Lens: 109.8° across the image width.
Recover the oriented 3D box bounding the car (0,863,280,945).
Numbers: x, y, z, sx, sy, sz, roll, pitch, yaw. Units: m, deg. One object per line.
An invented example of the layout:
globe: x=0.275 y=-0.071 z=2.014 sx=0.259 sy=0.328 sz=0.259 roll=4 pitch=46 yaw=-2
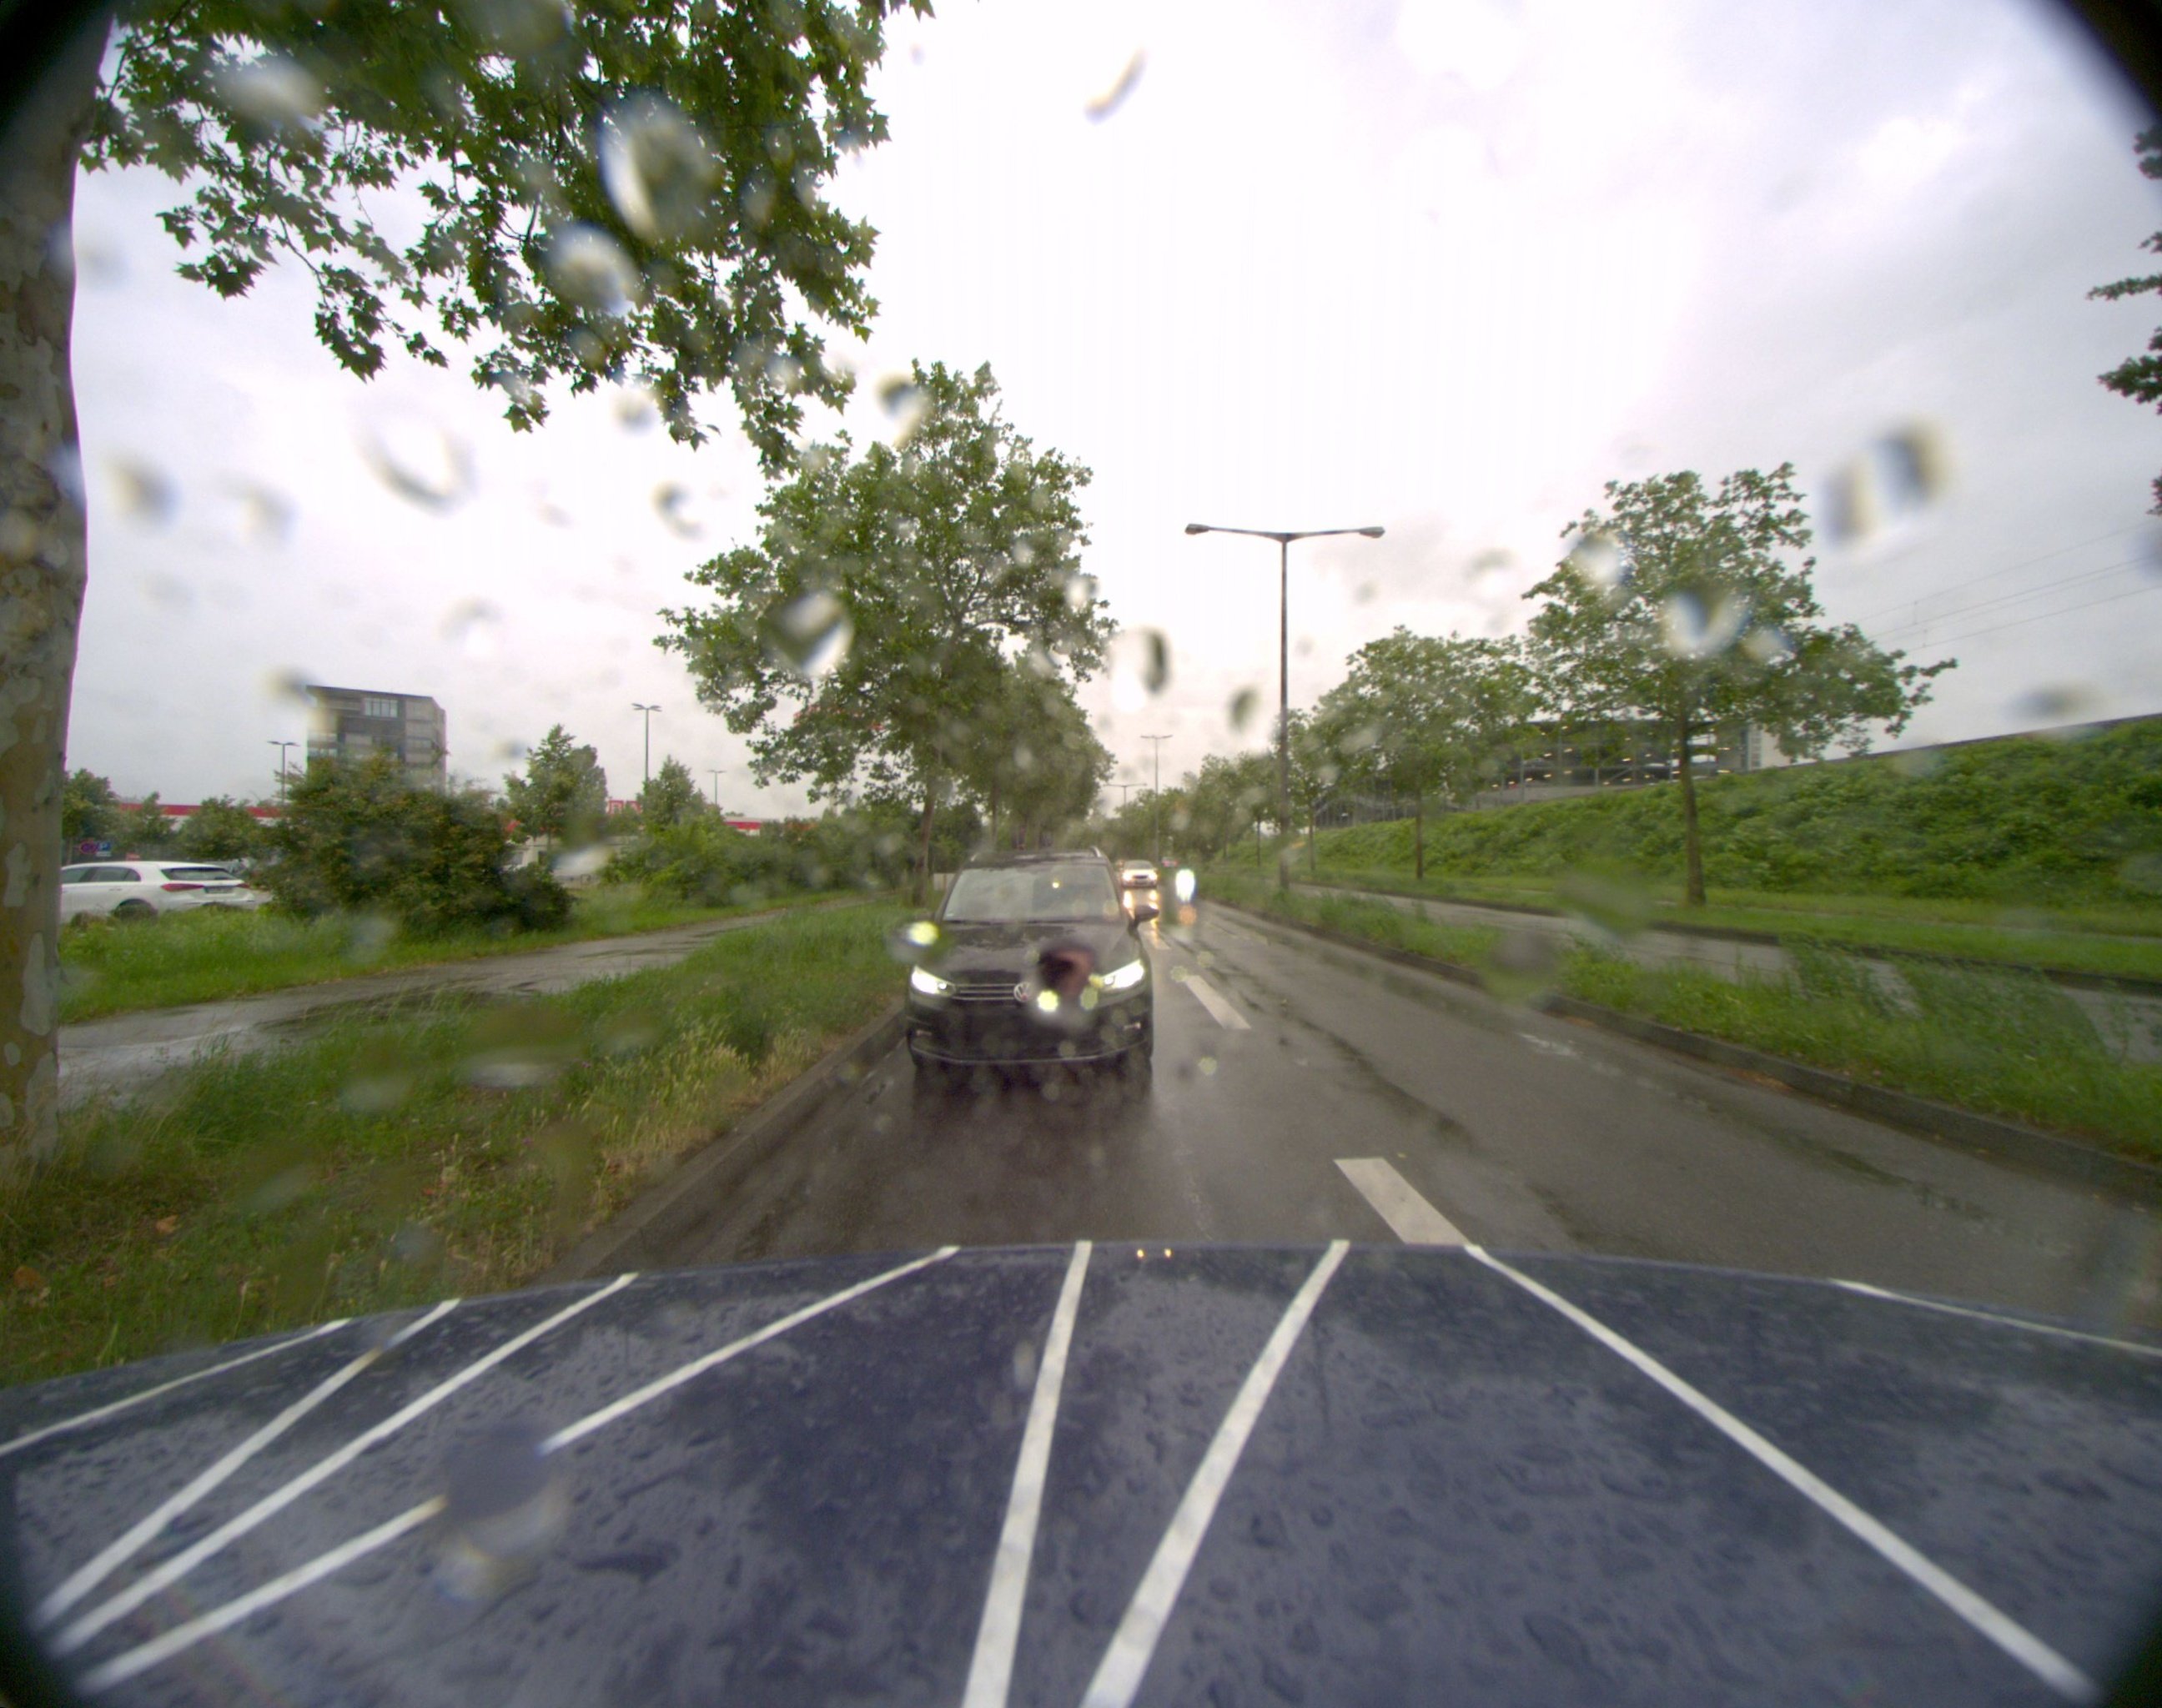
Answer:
car: x=-19.795 y=0.972 z=15.677 sx=4.272 sy=1.543 sz=1.929 roll=0 pitch=0 yaw=-4

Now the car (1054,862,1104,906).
car: x=-0.072 y=1.064 z=28.702 sx=1.724 sy=1.456 sz=4.092 roll=-2 pitch=0 yaw=0

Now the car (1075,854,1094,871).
car: x=0.349 y=0.798 z=70.656 sx=1.724 sy=1.456 sz=4.092 roll=-2 pitch=0 yaw=1

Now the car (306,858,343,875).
car: x=-78.472 y=1.235 z=78.880 sx=2.006 sy=1.667 sz=4.262 roll=0 pitch=0 yaw=-35

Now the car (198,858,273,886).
car: x=-50.059 y=1.038 z=45.083 sx=1.933 sy=1.543 sz=4.262 roll=0 pitch=0 yaw=-33

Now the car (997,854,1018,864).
car: x=-16.486 y=1.143 z=169.908 sx=2.004 sy=2.002 sz=5.118 roll=-3 pitch=1 yaw=-42

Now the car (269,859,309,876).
car: x=-80.582 y=1.333 z=77.349 sx=2.006 sy=1.667 sz=4.262 roll=0 pitch=0 yaw=-35

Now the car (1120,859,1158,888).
car: x=2.965 y=0.975 z=39.529 sx=1.683 sy=1.368 sz=4.011 roll=-2 pitch=0 yaw=1

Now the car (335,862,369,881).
car: x=-68.710 y=1.636 z=71.658 sx=2.007 sy=1.667 sz=4.261 roll=0 pitch=0 yaw=-39

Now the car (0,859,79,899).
car: x=-48.948 y=1.182 z=34.504 sx=3.787 sy=1.708 sz=1.687 roll=-3 pitch=1 yaw=-37

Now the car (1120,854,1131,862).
car: x=7.703 y=0.683 z=131.123 sx=1.724 sy=1.456 sz=4.092 roll=0 pitch=0 yaw=0

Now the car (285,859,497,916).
car: x=-19.948 y=0.931 z=22.147 sx=4.272 sy=1.543 sz=1.929 roll=0 pitch=0 yaw=-4

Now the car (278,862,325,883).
car: x=-67.286 y=1.601 z=65.619 sx=2.006 sy=1.667 sz=4.262 roll=0 pitch=0 yaw=-34

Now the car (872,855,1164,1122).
car: x=-0.439 y=0.844 z=7.086 sx=1.771 sy=1.596 sz=4.626 roll=-2 pitch=0 yaw=-1

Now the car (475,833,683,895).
car: x=-19.668 y=0.369 z=30.097 sx=6.425 sy=2.349 sz=2.390 roll=0 pitch=0 yaw=-8

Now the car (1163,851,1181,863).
car: x=11.208 y=0.325 z=94.051 sx=1.724 sy=1.456 sz=4.092 roll=0 pitch=0 yaw=0
